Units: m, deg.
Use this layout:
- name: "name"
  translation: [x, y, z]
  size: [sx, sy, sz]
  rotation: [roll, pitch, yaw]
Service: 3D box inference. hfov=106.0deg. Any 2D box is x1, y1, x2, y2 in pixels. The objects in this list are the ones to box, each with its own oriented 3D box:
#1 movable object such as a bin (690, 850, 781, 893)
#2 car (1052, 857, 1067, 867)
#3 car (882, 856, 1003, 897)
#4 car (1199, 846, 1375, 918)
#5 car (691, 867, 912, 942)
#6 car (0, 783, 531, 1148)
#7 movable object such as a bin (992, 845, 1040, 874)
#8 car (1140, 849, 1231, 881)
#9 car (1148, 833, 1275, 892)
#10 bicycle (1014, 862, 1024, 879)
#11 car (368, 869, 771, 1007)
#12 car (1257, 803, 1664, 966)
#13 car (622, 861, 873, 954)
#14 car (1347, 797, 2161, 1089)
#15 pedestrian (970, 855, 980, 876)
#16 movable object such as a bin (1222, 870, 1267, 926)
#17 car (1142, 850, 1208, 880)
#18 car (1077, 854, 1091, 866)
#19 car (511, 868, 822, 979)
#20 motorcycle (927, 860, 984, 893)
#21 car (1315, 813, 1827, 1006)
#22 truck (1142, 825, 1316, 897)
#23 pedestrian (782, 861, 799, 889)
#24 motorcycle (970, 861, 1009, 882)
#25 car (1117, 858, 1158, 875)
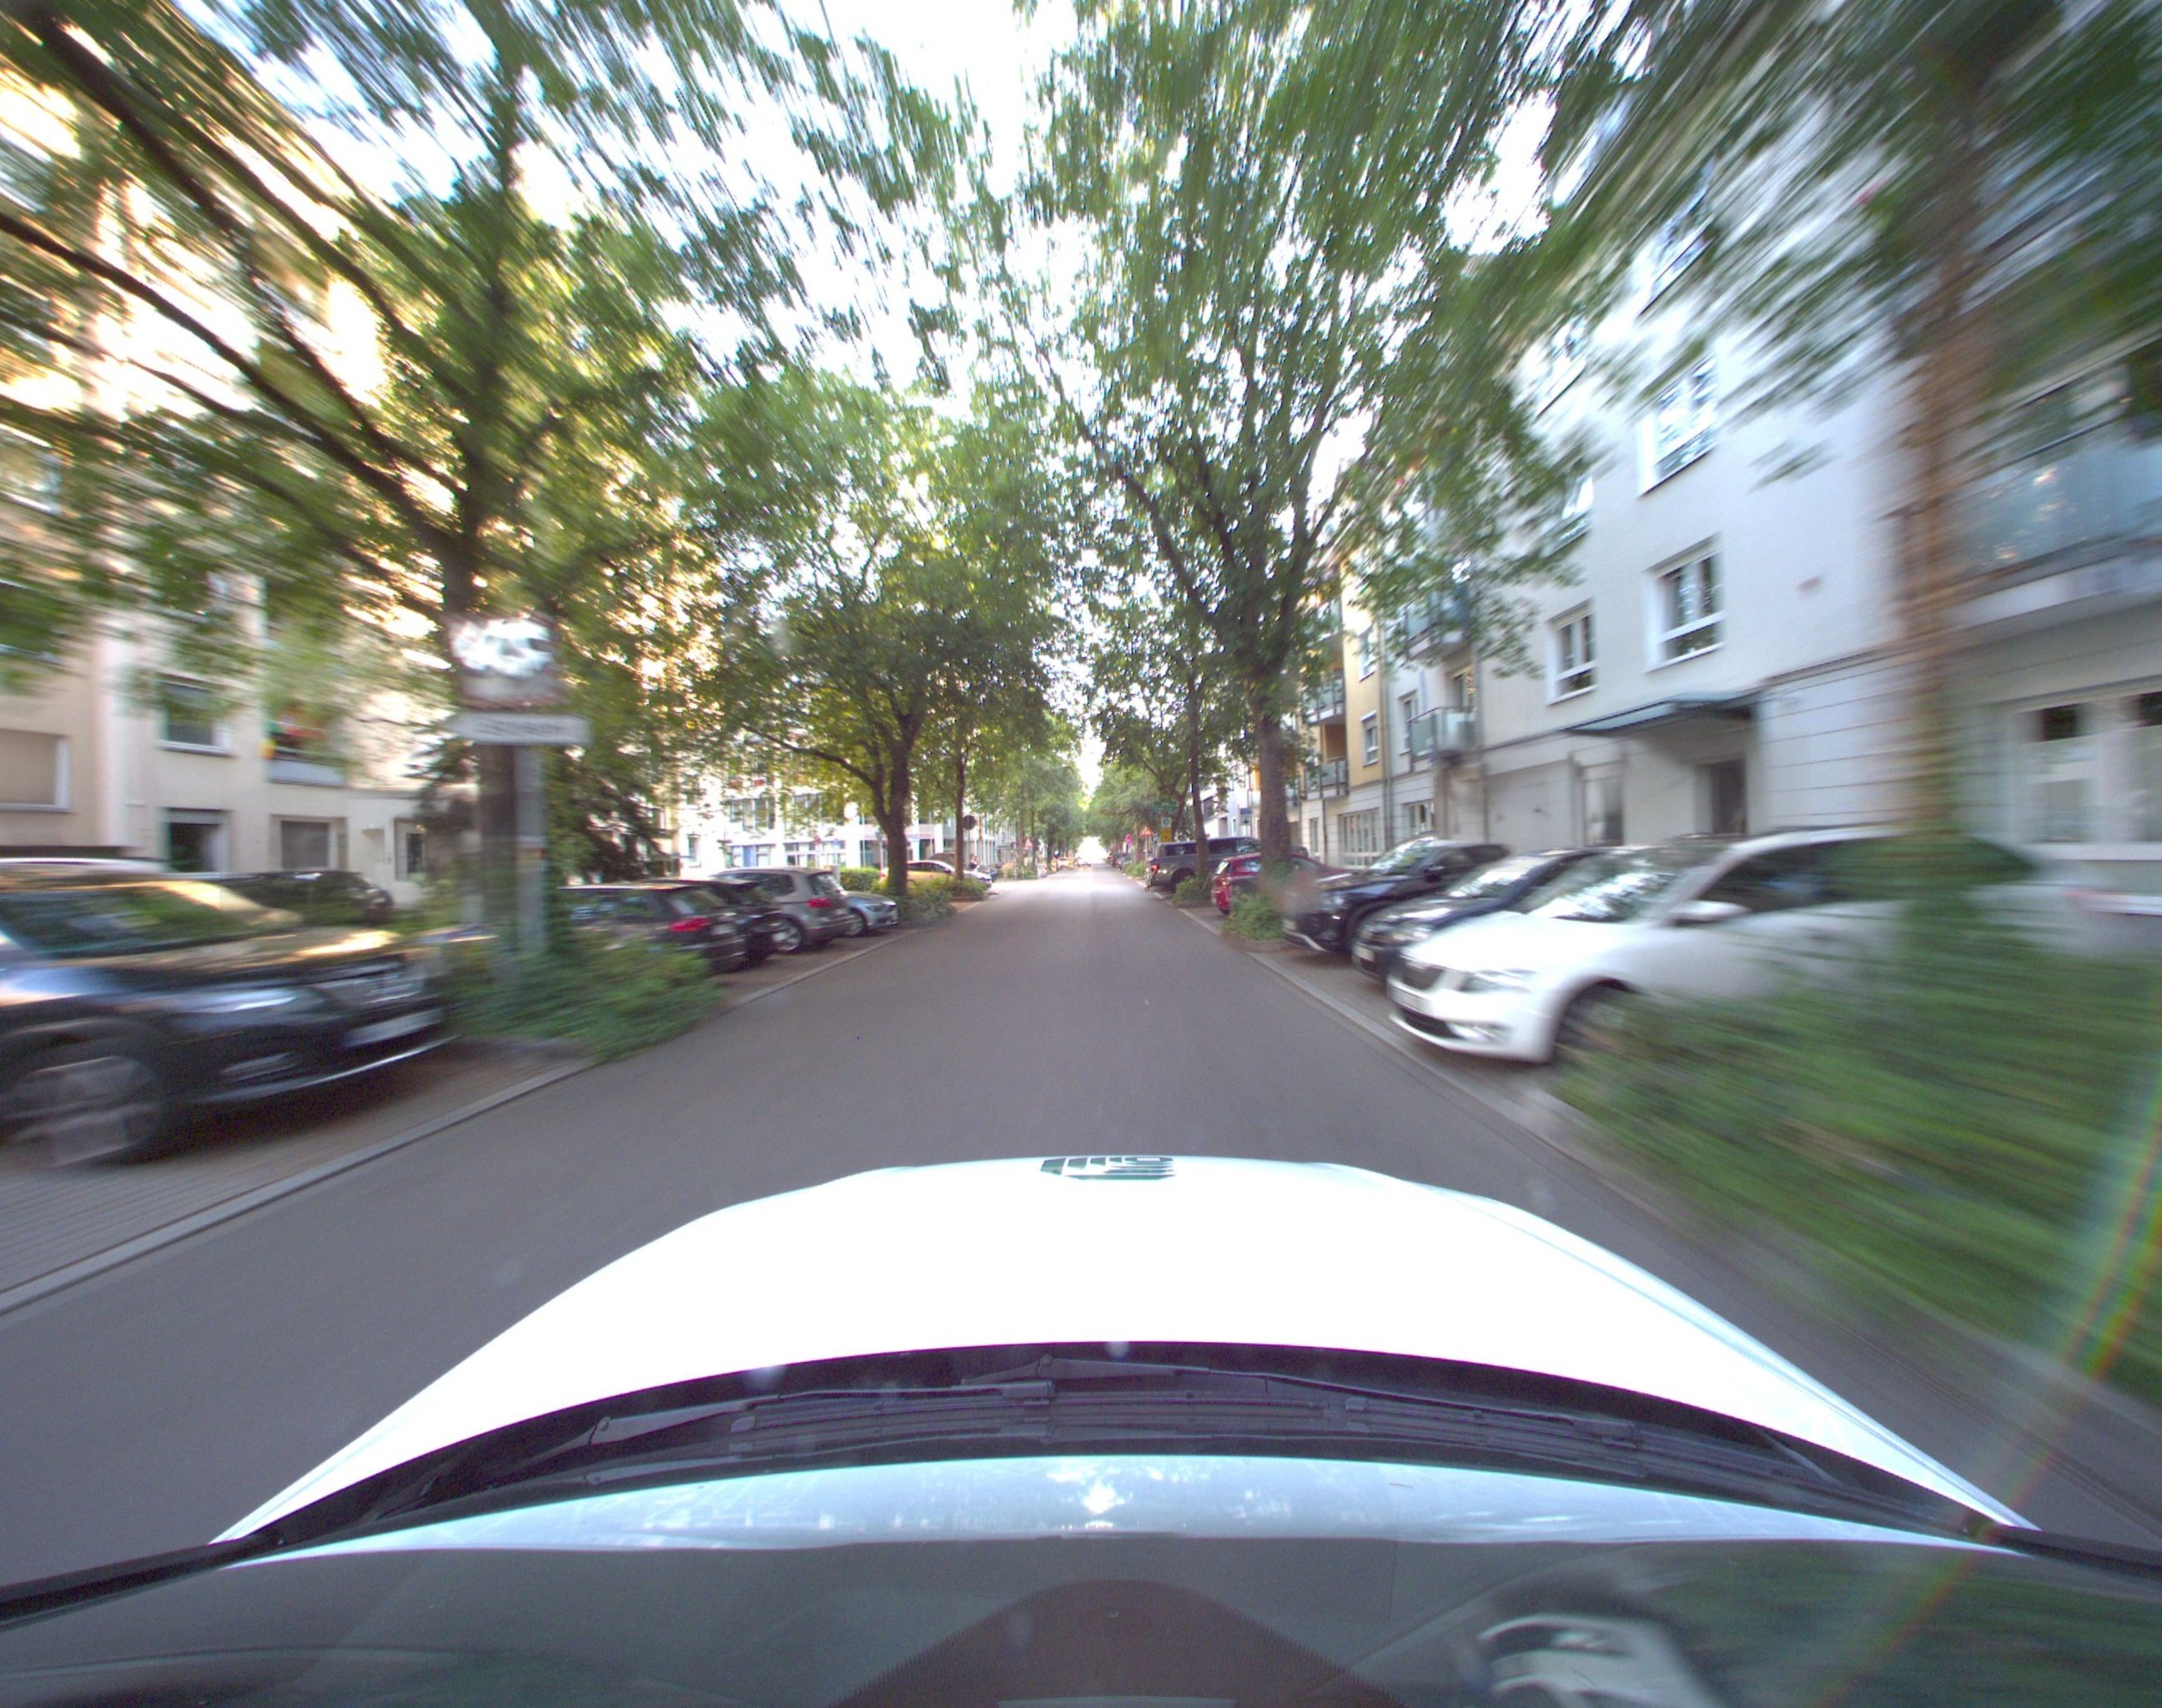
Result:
- name: "movable object such as a bin"
  translation: [-23.630, 1.212, 55.679]
  size: [5.581, 2.692, 2.296]
  rotation: [-2, 0, 21]
- name: "car"
  translation: [-3.040, 1.175, 116.830]
  size: [1.989, 1.288, 3.995]
  rotation: [-2, 0, -3]
- name: "car"
  translation: [-5.760, 0.910, 34.208]
  size: [4.600, 1.552, 2.077]
  rotation: [-2, 0, 3]
- name: "car"
  translation: [4.897, 0.647, 19.720]
  size: [3.765, 1.544, 1.877]
  rotation: [-2, 0, -1]
- name: "car"
  translation: [-6.164, 1.097, 18.329]
  size: [4.273, 1.430, 1.879]
  rotation: [-2, 0, 0]
- name: "car"
  translation: [-6.641, 0.654, 5.436]
  size: [4.491, 1.955, 1.999]
  rotation: [-2, 0, -1]
- name: "movable object such as a bin"
  translation: [-5.723, 0.469, 72.073]
  size: [4.039, 2.383, 2.780]
  rotation: [-2, 0, -5]
- name: "car"
  translation: [5.575, 0.591, 43.757]
  size: [4.606, 1.571, 2.011]
  rotation: [-2, 0, 0]
- name: "car"
  translation: [5.047, 0.310, 32.085]
  size: [4.586, 2.066, 2.197]
  rotation: [-2, 0, -1]
- name: "bicycle"
  translation: [-4.371, 1.177, 57.527]
  size: [0.682, 1.152, 1.978]
  rotation: [-2, 0, -4]
- name: "car"
  translation: [-6.444, 1.012, 10.655]
  size: [3.975, 1.464, 1.921]
  rotation: [-2, 0, -1]
- name: "car"
  translation: [5.053, 0.375, 11.299]
  size: [4.633, 1.617, 2.008]
  rotation: [-5, 0, -4]
- name: "car"
  translation: [-6.304, 0.988, 15.702]
  size: [3.967, 1.565, 1.932]
  rotation: [-2, 0, 5]
- name: "car"
  translation: [4.611, 0.564, 6.079]
  size: [4.585, 1.468, 1.796]
  rotation: [-5, 0, 0]
- name: "pedestrian"
  translation: [-8.915, 0.950, 68.567]
  size: [0.736, 1.690, 0.607]
  rotation: [-2, -1, 2]
- name: "movable object such as a bin"
  translation: [3.436, 0.913, 17.170]
  size: [0.758, 1.084, 0.786]
  rotation: [-4, 0, 2]
- name: "car"
  translation: [5.313, 0.610, 46.419]
  size: [3.527, 1.564, 1.832]
  rotation: [-2, 0, 0]
- name: "car"
  translation: [0.410, 0.859, 121.465]
  size: [2.003, 1.613, 4.119]
  rotation: [-2, 0, 0]
- name: "car"
  translation: [-6.447, 1.045, 13.037]
  size: [3.976, 1.490, 1.824]
  rotation: [-2, 0, -2]
- name: "motorcycle"
  translation: [-5.797, 1.041, 37.801]
  size: [2.443, 1.420, 0.911]
  rotation: [-2, -1, 2]
- name: "car"
  translation: [4.907, 0.537, 8.706]
  size: [4.207, 1.438, 1.931]
  rotation: [-6, 0, 2]
- name: "truck"
  translation: [5.209, 0.261, 29.341]
  size: [5.866, 2.311, 2.213]
  rotation: [-2, 0, 1]
- name: "pedestrian"
  translation: [-20.128, 1.455, 56.408]
  size: [0.893, 1.851, 0.867]
  rotation: [-2, 0, -31]
- name: "motorcycle"
  translation: [-6.046, 1.180, 53.920]
  size: [2.368, 1.281, 1.055]
  rotation: [-2, 0, -40]
- name: "car"
  translation: [5.570, 1.210, 80.749]
  size: [3.971, 1.585, 2.001]
  rotation: [-2, 0, 2]
